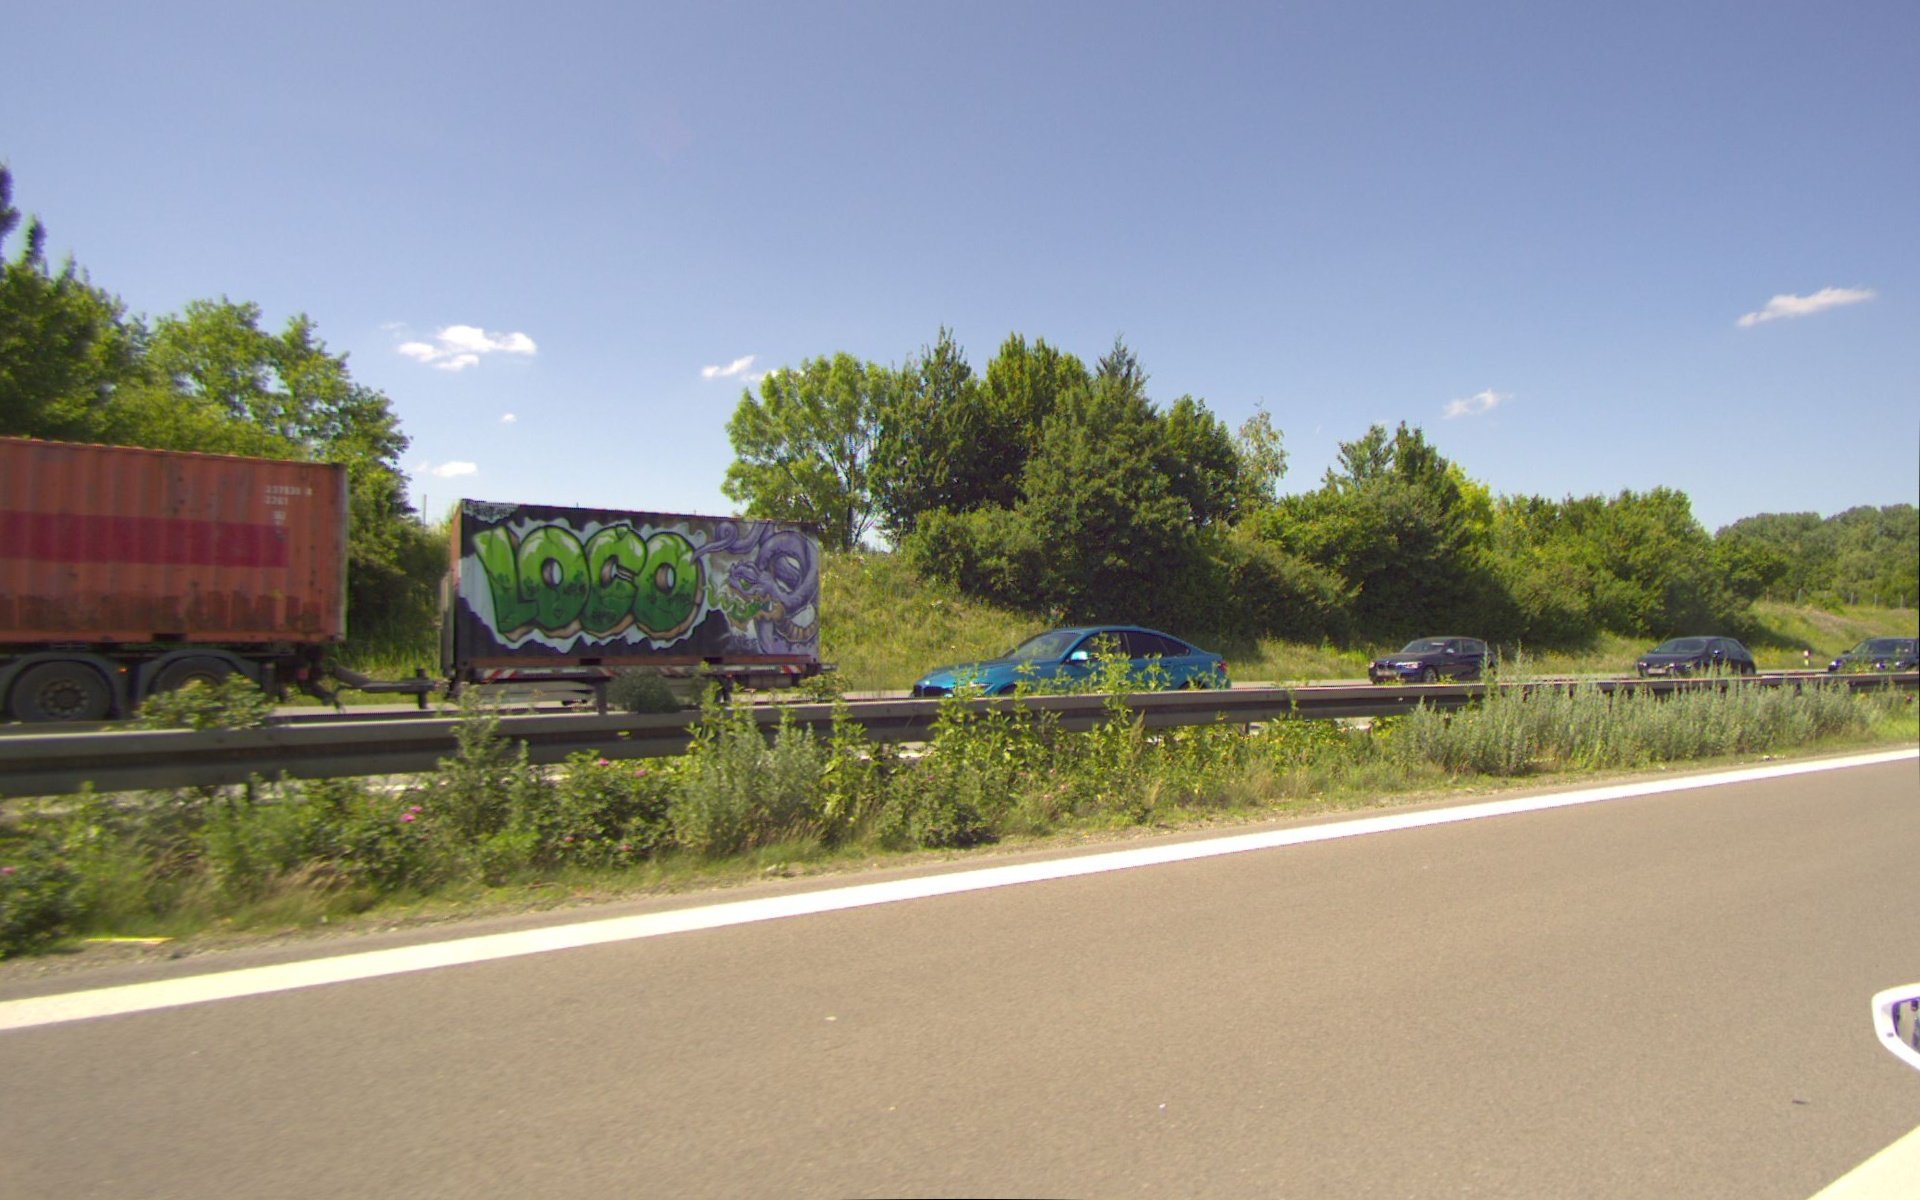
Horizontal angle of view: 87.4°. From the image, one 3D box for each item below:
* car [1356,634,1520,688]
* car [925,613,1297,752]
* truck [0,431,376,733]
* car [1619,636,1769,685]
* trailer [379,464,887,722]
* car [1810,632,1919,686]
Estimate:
[{"bbox_3d":[13.866,1.759,29.071,4.867,1.456,1.886,1,-4,-31],"label":"car"},{"bbox_3d":[2.116,1.013,13.510,4.898,1.586,1.824,1,-2,-30],"label":"car"},{"bbox_3d":[-13.518,-0.201,13.407,9.803,3.819,2.666,1,-3,-31],"label":"truck"},{"bbox_3d":[21.878,1.781,29.903,4.708,1.357,1.886,1,-4,-31],"label":"car"},{"bbox_3d":[-5.618,0.036,18.107,8.308,3.819,2.666,1,-3,-31],"label":"trailer"},{"bbox_3d":[26.895,1.702,29.204,4.708,1.445,1.886,1,-4,-31],"label":"car"}]
